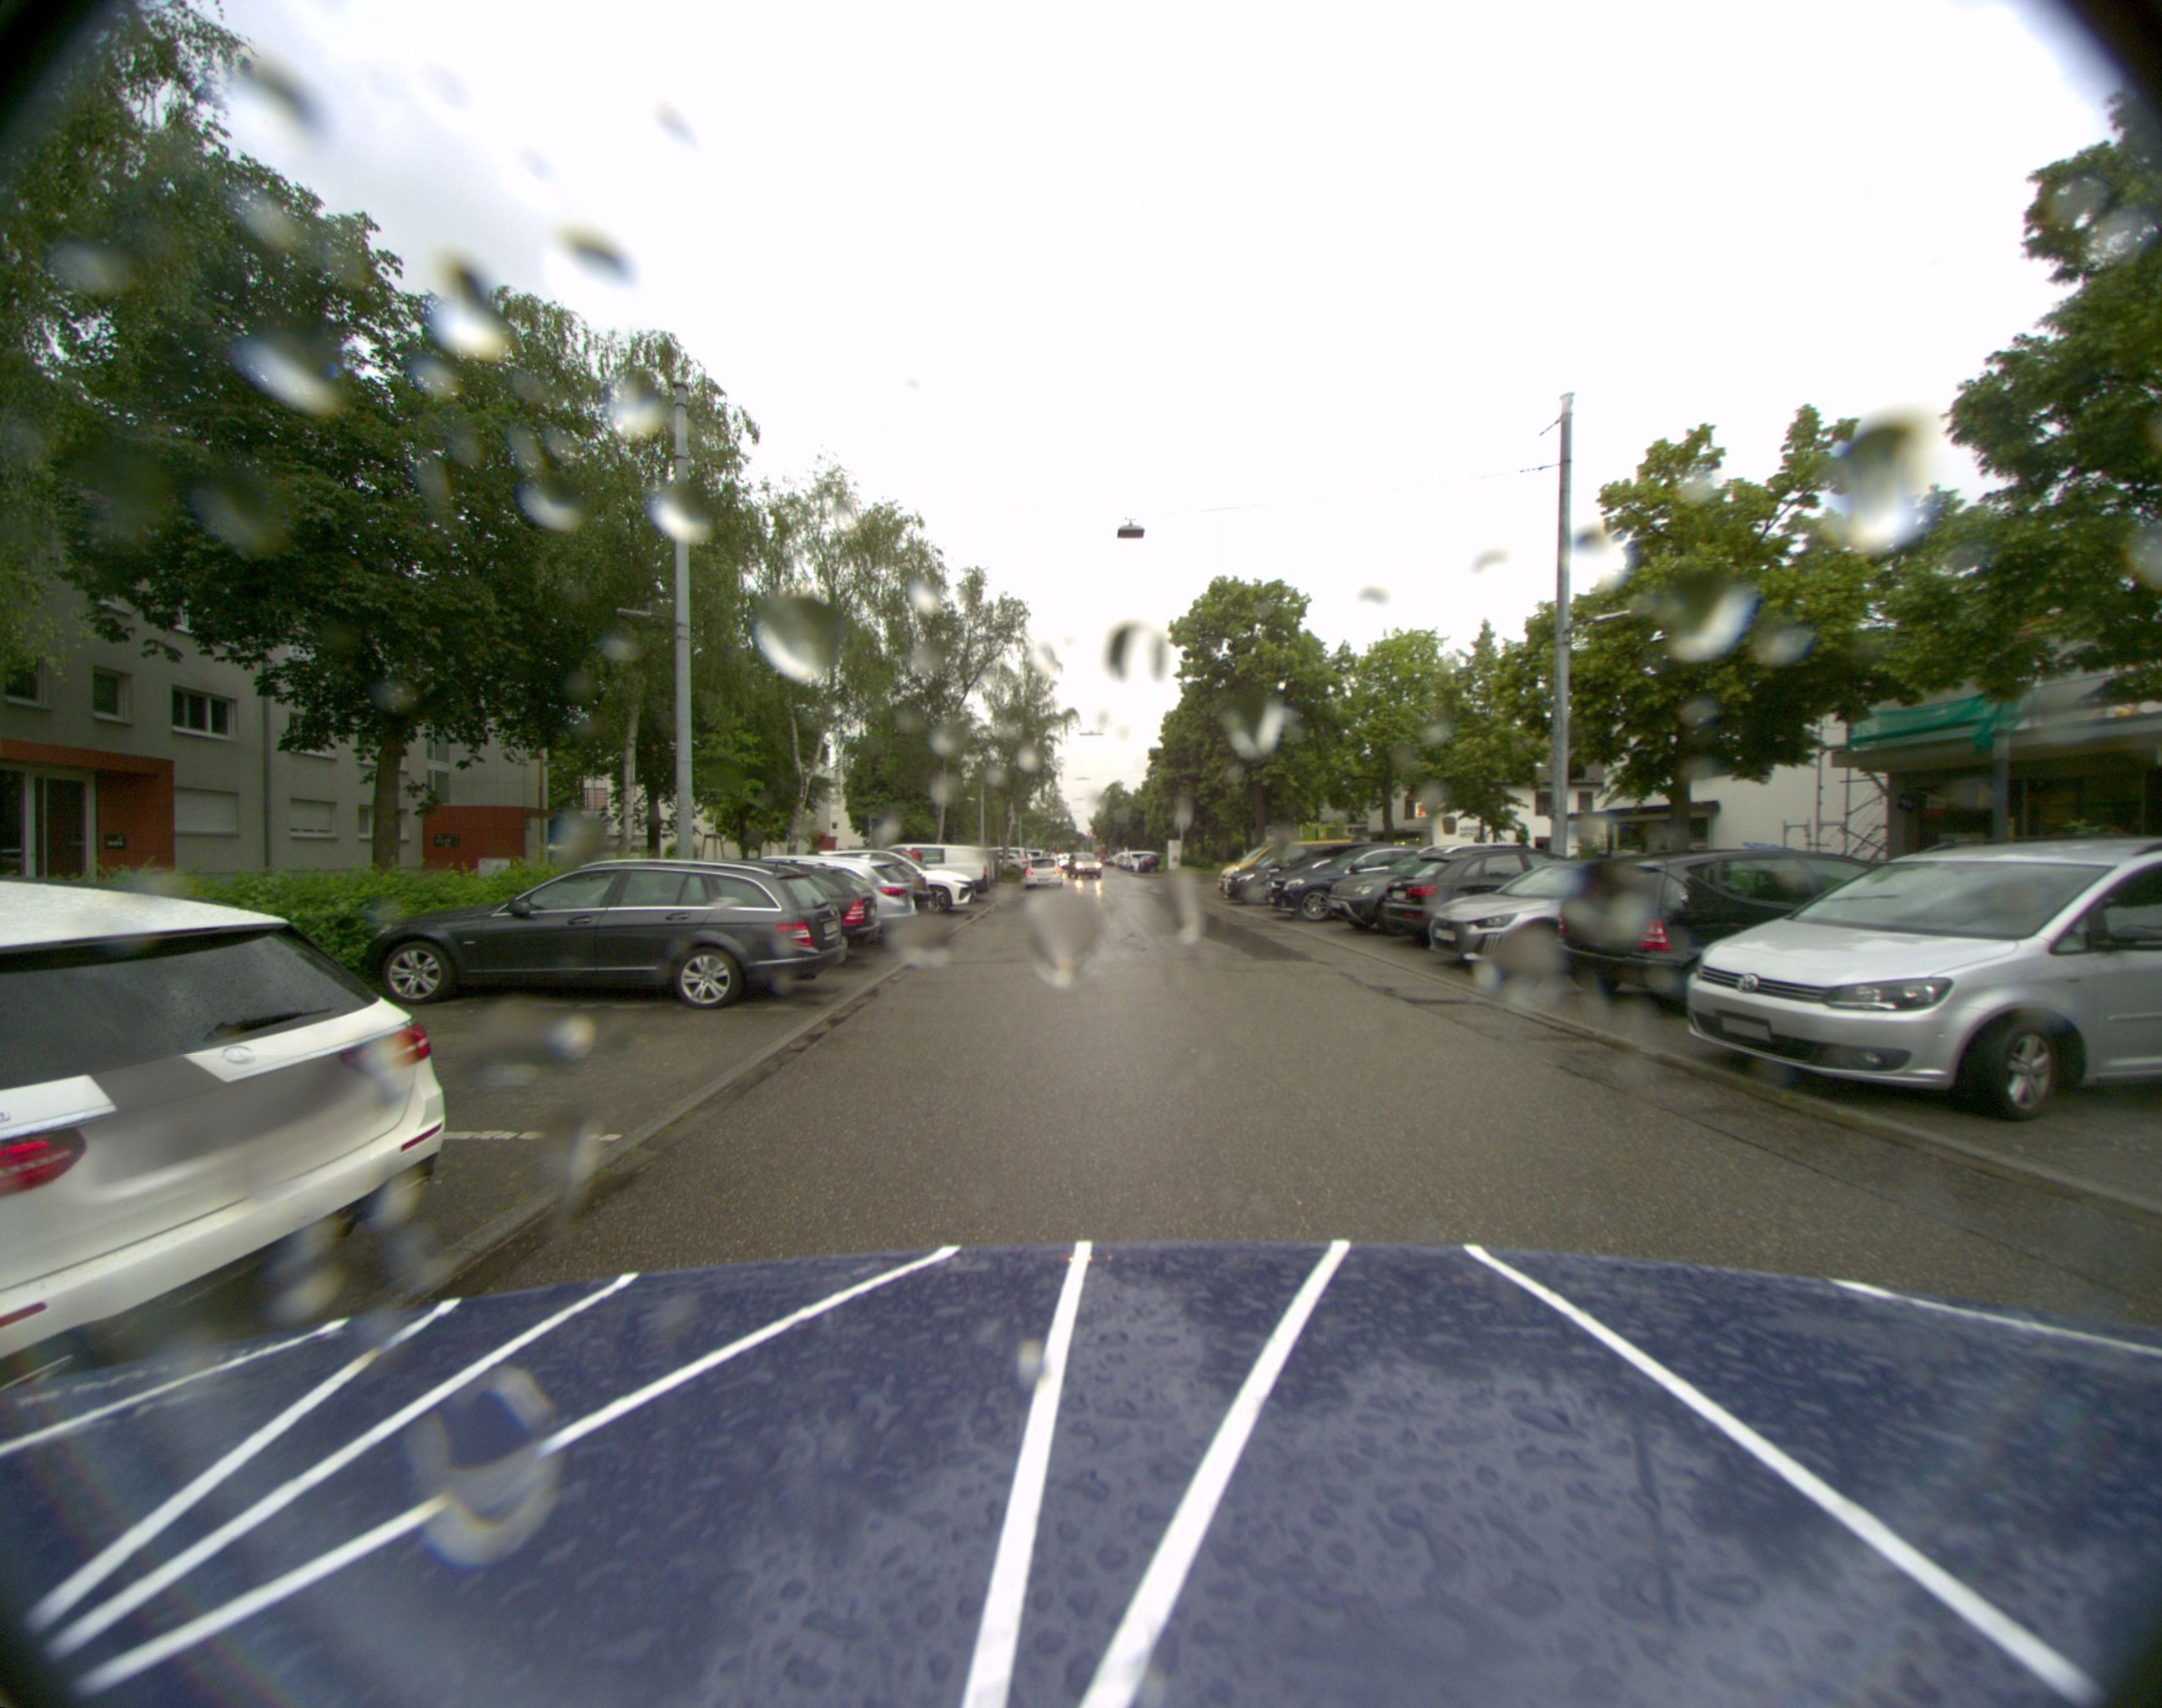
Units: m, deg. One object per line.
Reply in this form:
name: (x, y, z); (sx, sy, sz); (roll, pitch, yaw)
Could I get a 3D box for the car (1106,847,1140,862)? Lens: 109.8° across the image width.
car: (5.220, 0.073, 94.421); (3.998, 1.675, 1.999); (-2, 1, -3)

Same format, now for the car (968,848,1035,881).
car: (-5.109, 0.661, 49.320); (3.995, 1.902, 1.902); (-2, 1, 4)

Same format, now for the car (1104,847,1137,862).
car: (5.029, 0.049, 96.942); (3.998, 1.675, 1.999); (-2, 1, -3)

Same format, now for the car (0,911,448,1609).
car: (-4.746, 0.918, 2.063); (4.623, 1.431, 1.680); (2, 1, 0)

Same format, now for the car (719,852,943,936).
car: (-5.010, 0.783, 15.647); (4.049, 1.488, 1.680); (2, 1, -3)

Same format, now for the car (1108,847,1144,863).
car: (5.337, 0.122, 90.314); (3.998, 1.675, 1.999); (-2, 1, -3)

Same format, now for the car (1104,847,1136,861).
car: (5.204, -0.057, 101.616); (3.998, 1.675, 1.999); (-2, 1, -3)

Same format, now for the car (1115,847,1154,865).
car: (5.693, 0.208, 81.180); (3.998, 1.675, 1.999); (-2, 1, -3)

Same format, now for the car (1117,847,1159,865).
car: (5.872, 0.234, 78.586); (3.998, 1.675, 1.999); (-2, 1, -3)

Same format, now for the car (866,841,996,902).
car: (-5.092, 0.572, 26.189); (4.182, 1.856, 1.679); (3, 1, -6)

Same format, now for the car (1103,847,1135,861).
car: (4.972, 0.022, 99.175); (3.998, 1.675, 1.999); (-2, 1, -3)

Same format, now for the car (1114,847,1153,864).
car: (5.787, 0.188, 83.758); (3.998, 1.675, 1.999); (-2, 1, -3)

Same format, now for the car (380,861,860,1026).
car: (-4.639, 0.876, 8.125); (4.049, 1.431, 1.680); (2, 1, -3)

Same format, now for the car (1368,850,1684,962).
car: (7.269, 0.797, 12.682); (4.283, 1.586, 1.715); (-2, 1, -2)

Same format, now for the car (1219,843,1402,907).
car: (7.117, 0.632, 23.861); (5.177, 1.789, 1.715); (-2, 1, -2)

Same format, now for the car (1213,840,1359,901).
car: (7.188, 0.544, 26.916); (4.657, 1.947, 1.715); (-2, 1, -2)

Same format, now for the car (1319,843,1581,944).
car: (7.085, 0.711, 14.855); (4.283, 1.717, 1.715); (-2, 1, -2)

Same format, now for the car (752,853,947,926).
car: (-5.321, 0.808, 17.857); (4.049, 1.488, 1.680); (2, 1, -3)

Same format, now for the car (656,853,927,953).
car: (-4.880, 0.809, 13.255); (4.049, 1.488, 1.680); (2, 1, -3)

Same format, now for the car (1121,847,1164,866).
car: (6.151, 0.255, 76.065); (3.998, 1.675, 1.999); (-2, 1, -3)

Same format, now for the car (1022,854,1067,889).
car: (-1.766, 0.782, 36.264); (1.999, 1.446, 4.255); (-2, 1, -4)

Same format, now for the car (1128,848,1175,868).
car: (6.337, 0.343, 68.682); (3.998, 1.675, 1.999); (-2, 1, -3)

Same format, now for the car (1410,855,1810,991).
car: (6.984, 0.851, 10.316); (4.283, 1.523, 1.715); (-2, 1, -2)

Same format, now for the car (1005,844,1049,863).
car: (-5.282, -0.064, 75.037); (3.995, 1.670, 1.902); (-2, 1, 4)

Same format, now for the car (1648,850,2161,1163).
car: (6.635, 0.852, 5.198); (4.283, 1.625, 1.715); (-2, 1, -2)

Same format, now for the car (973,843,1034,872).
car: (-5.504, 0.217, 54.192); (3.995, 1.902, 1.902); (-2, 1, 4)

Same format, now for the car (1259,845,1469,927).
car: (6.586, 0.704, 17.946); (4.283, 1.717, 1.715); (-2, 1, -2)

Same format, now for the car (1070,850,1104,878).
car: (0.369, 0.632, 49.549); (1.840, 1.677, 3.998); (-2, 1, -4)

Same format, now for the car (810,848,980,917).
car: (-5.025, 0.737, 20.902); (4.179, 1.609, 1.680); (3, 1, 1)

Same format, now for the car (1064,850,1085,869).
car: (-0.577, 0.462, 67.496); (1.733, 1.519, 4.139); (0, 1, 1)

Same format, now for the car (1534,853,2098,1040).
car: (7.254, 0.839, 7.778); (4.283, 1.556, 1.635); (-2, 1, -2)

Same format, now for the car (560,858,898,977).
car: (-4.875, 0.860, 10.971); (4.049, 1.431, 1.680); (2, 1, -3)

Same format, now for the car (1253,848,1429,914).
car: (7.132, 0.722, 21.092); (4.283, 1.617, 1.715); (-2, 1, -2)
